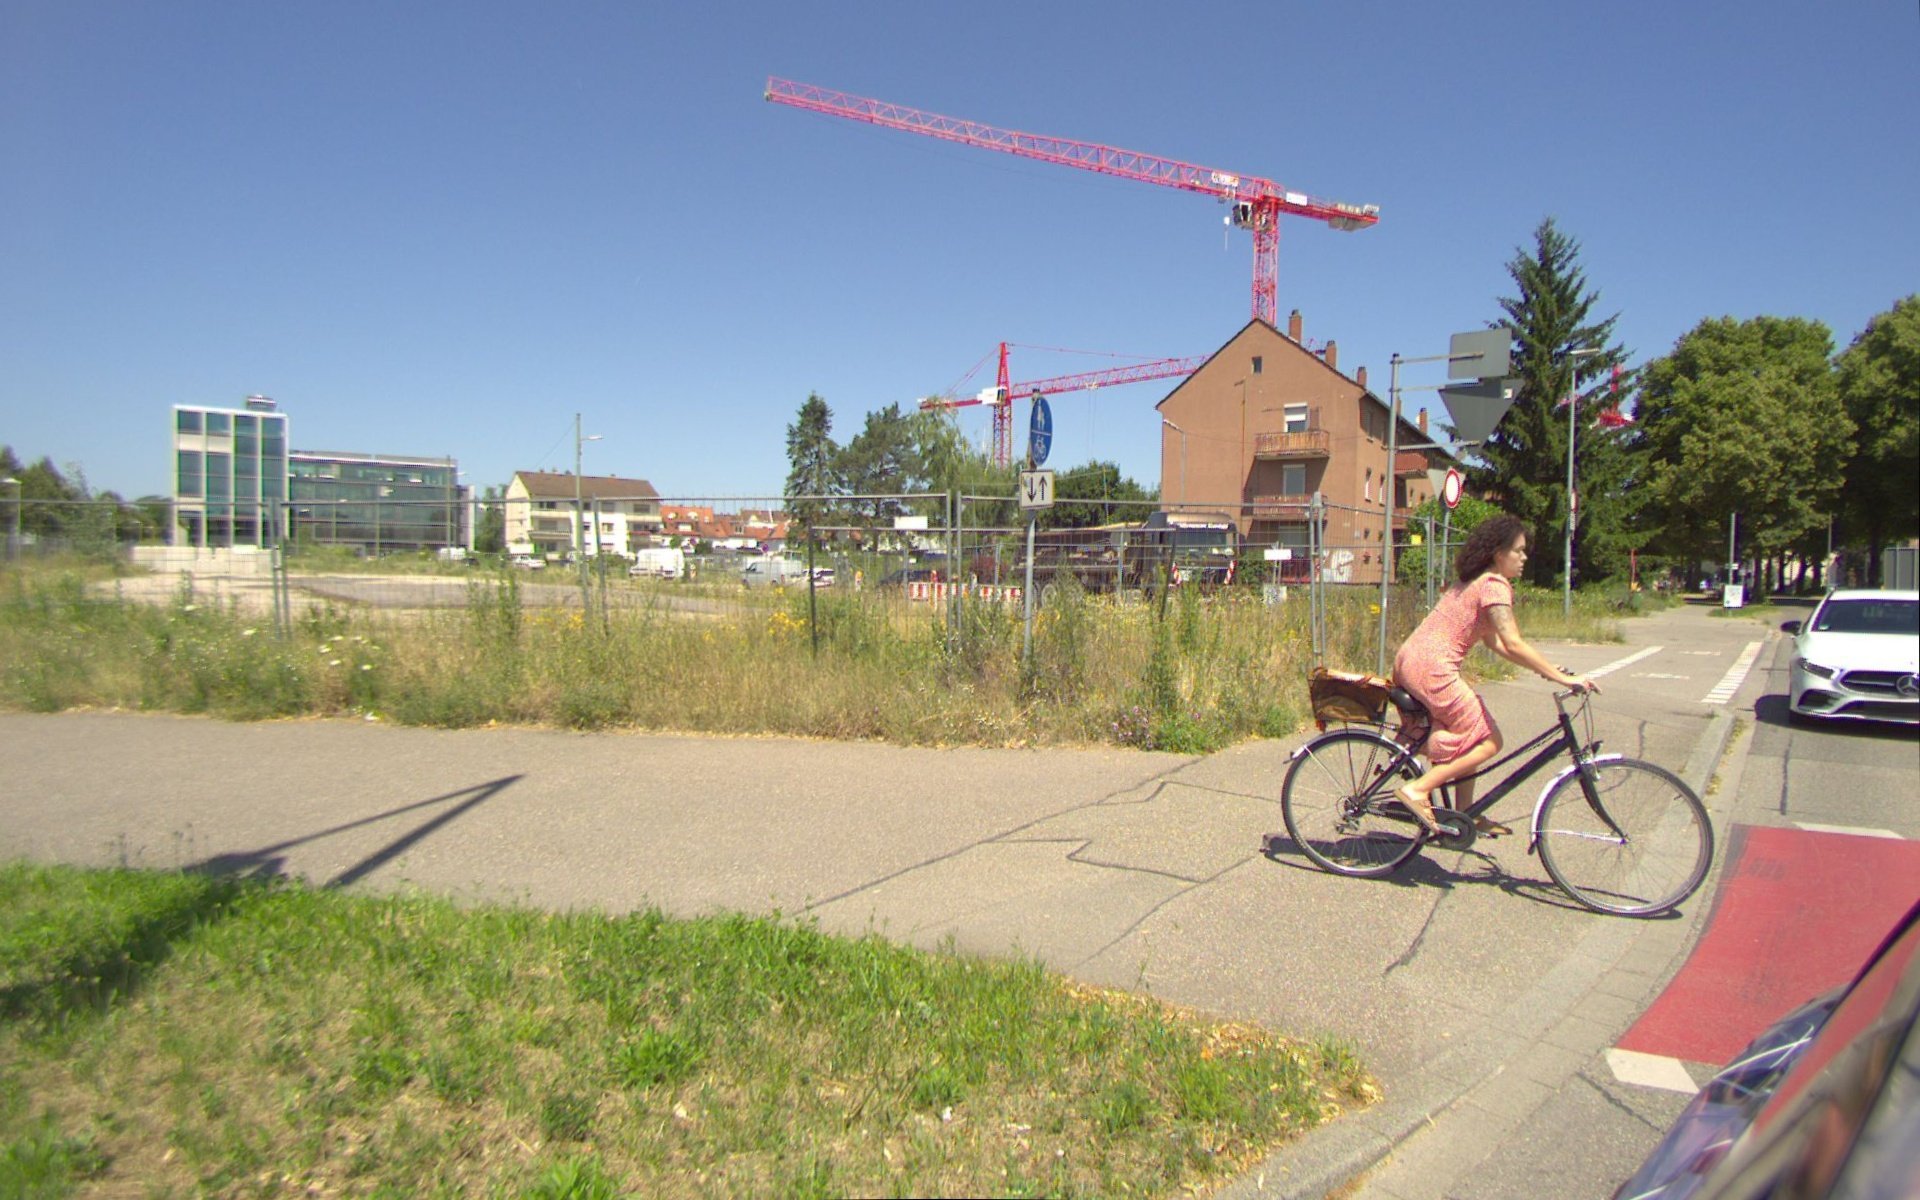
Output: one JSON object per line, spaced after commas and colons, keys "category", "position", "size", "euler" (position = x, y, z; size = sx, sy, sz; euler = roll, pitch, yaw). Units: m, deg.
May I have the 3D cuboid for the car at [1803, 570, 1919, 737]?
{"category": "car", "position": [10.367, 0.473, 10.903], "size": [1.775, 1.565, 3.902], "euler": [0, 1, 43]}

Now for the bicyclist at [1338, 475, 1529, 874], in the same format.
{"category": "bicyclist", "position": [2.146, 0.297, 4.682], "size": [0.701, 1.684, 0.642], "euler": [1, 2, 20]}

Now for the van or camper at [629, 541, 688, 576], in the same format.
{"category": "van or camper", "position": [-23.354, -3.210, 78.303], "size": [1.895, 2.634, 6.998], "euler": [0, 2, -38]}

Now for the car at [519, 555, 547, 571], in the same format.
{"category": "car", "position": [-43.445, -3.764, 102.862], "size": [1.651, 1.606, 3.618], "euler": [-2, 2, -39]}

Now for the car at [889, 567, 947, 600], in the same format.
{"category": "car", "position": [-2.195, -0.884, 52.476], "size": [1.345, 1.633, 3.418], "euler": [0, 2, -36]}

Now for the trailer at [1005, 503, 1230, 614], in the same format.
{"category": "trailer", "position": [5.456, -1.491, 37.257], "size": [3.102, 3.576, 9.002], "euler": [0, 2, -31]}

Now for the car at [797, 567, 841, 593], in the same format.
{"category": "car", "position": [-8.380, -1.214, 60.044], "size": [1.393, 1.422, 2.790], "euler": [-3, 4, -37]}

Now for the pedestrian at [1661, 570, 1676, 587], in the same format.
{"category": "pedestrian", "position": [63.545, -1.905, 90.801], "size": [1.020, 1.536, 0.672], "euler": [2, 2, 41]}

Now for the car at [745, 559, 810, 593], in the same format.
{"category": "car", "position": [-11.610, -1.533, 64.180], "size": [1.756, 2.038, 4.671], "euler": [-1, 2, -44]}

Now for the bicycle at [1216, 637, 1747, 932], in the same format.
{"category": "bicycle", "position": [2.270, 0.775, 4.668], "size": [2.062, 1.070, 0.437], "euler": [2, 3, 19]}

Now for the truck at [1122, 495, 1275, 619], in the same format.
{"category": "truck", "position": [7.418, -1.332, 32.177], "size": [3.100, 3.576, 4.973], "euler": [1, 2, -8]}
